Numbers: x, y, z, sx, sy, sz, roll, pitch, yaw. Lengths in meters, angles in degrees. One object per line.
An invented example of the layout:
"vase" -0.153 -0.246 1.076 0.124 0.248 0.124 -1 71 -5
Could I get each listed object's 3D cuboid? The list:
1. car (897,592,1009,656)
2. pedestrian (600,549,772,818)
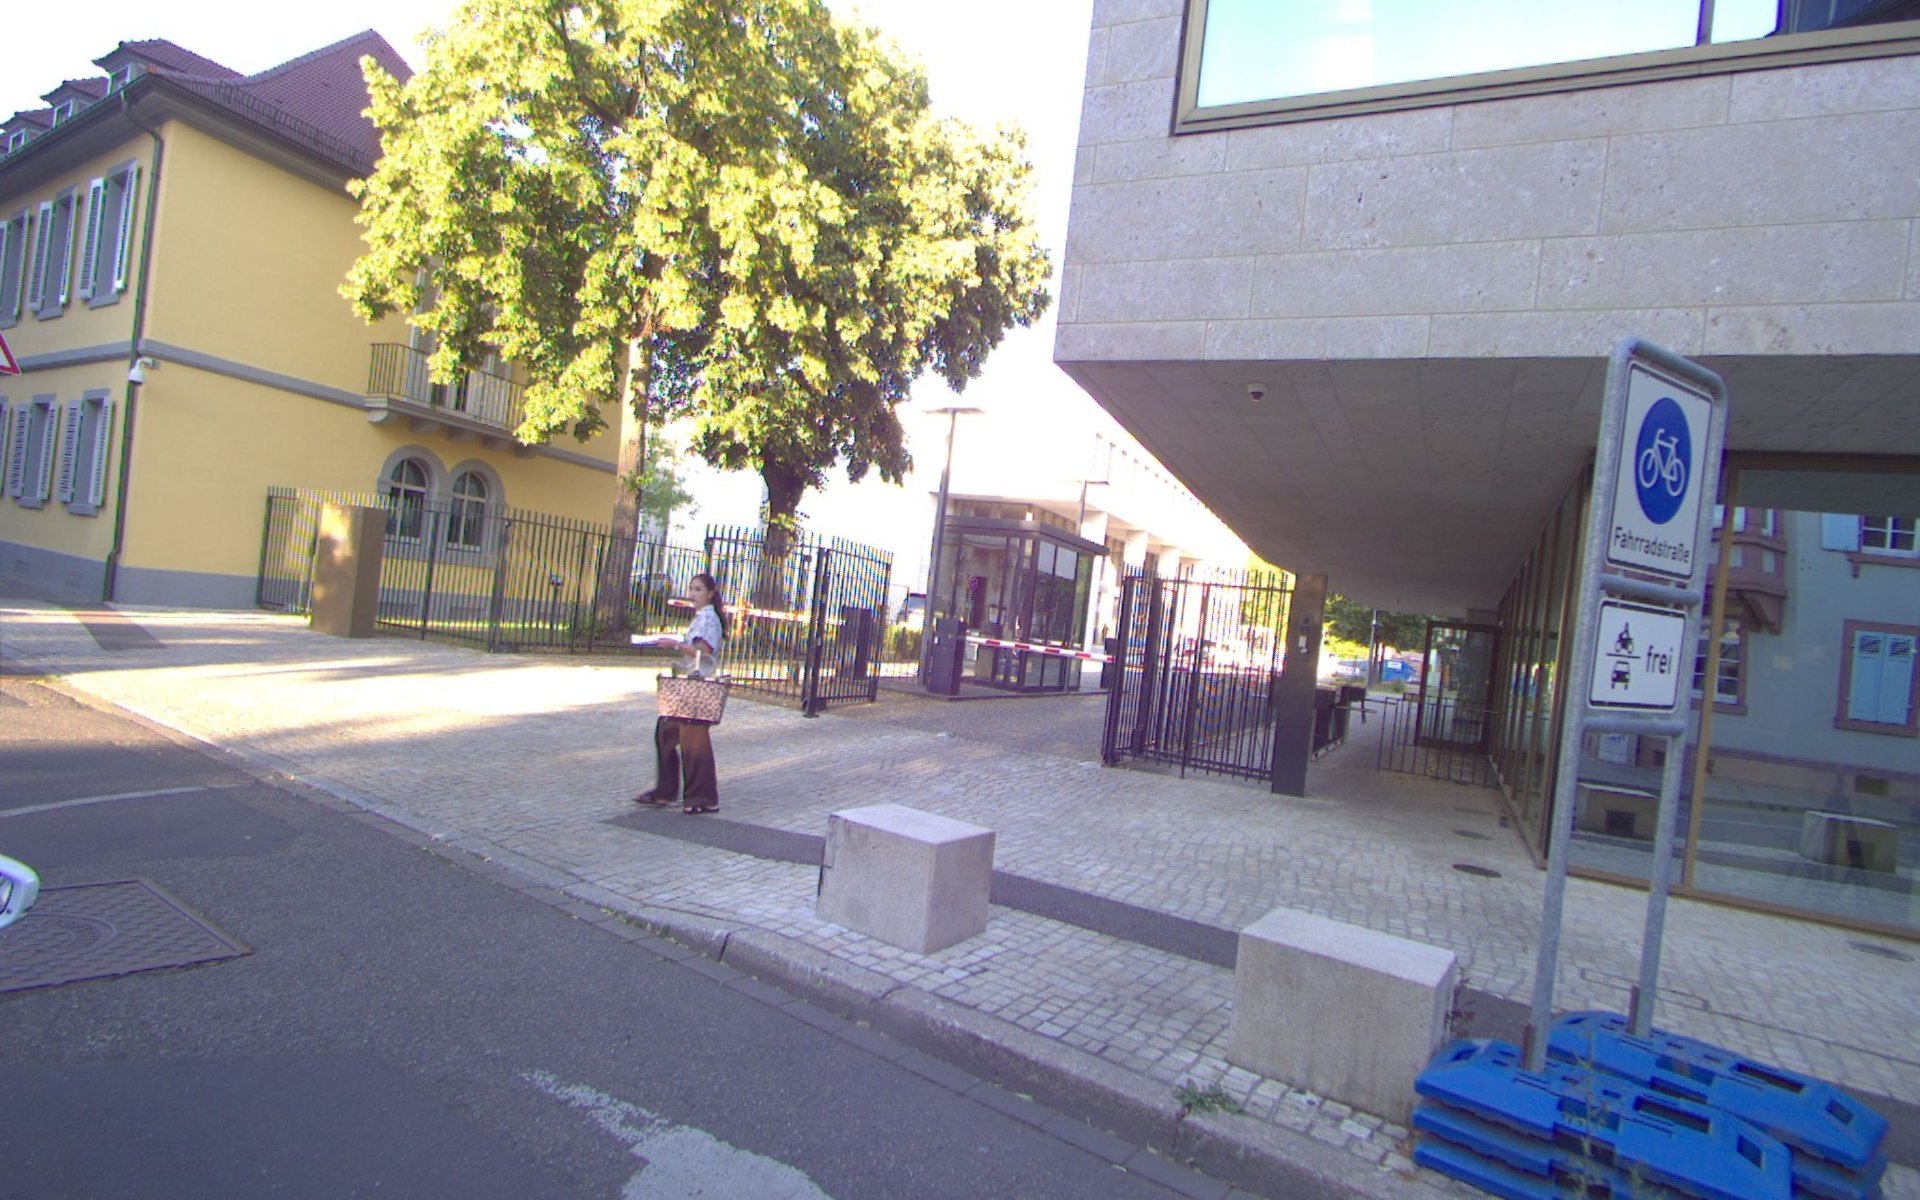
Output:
"car" -0.139 0.800 32.313 1.681 1.757 4.057 4 -2 30
"pedestrian" -1.842 0.552 6.771 0.945 1.680 0.637 5 1 -18
